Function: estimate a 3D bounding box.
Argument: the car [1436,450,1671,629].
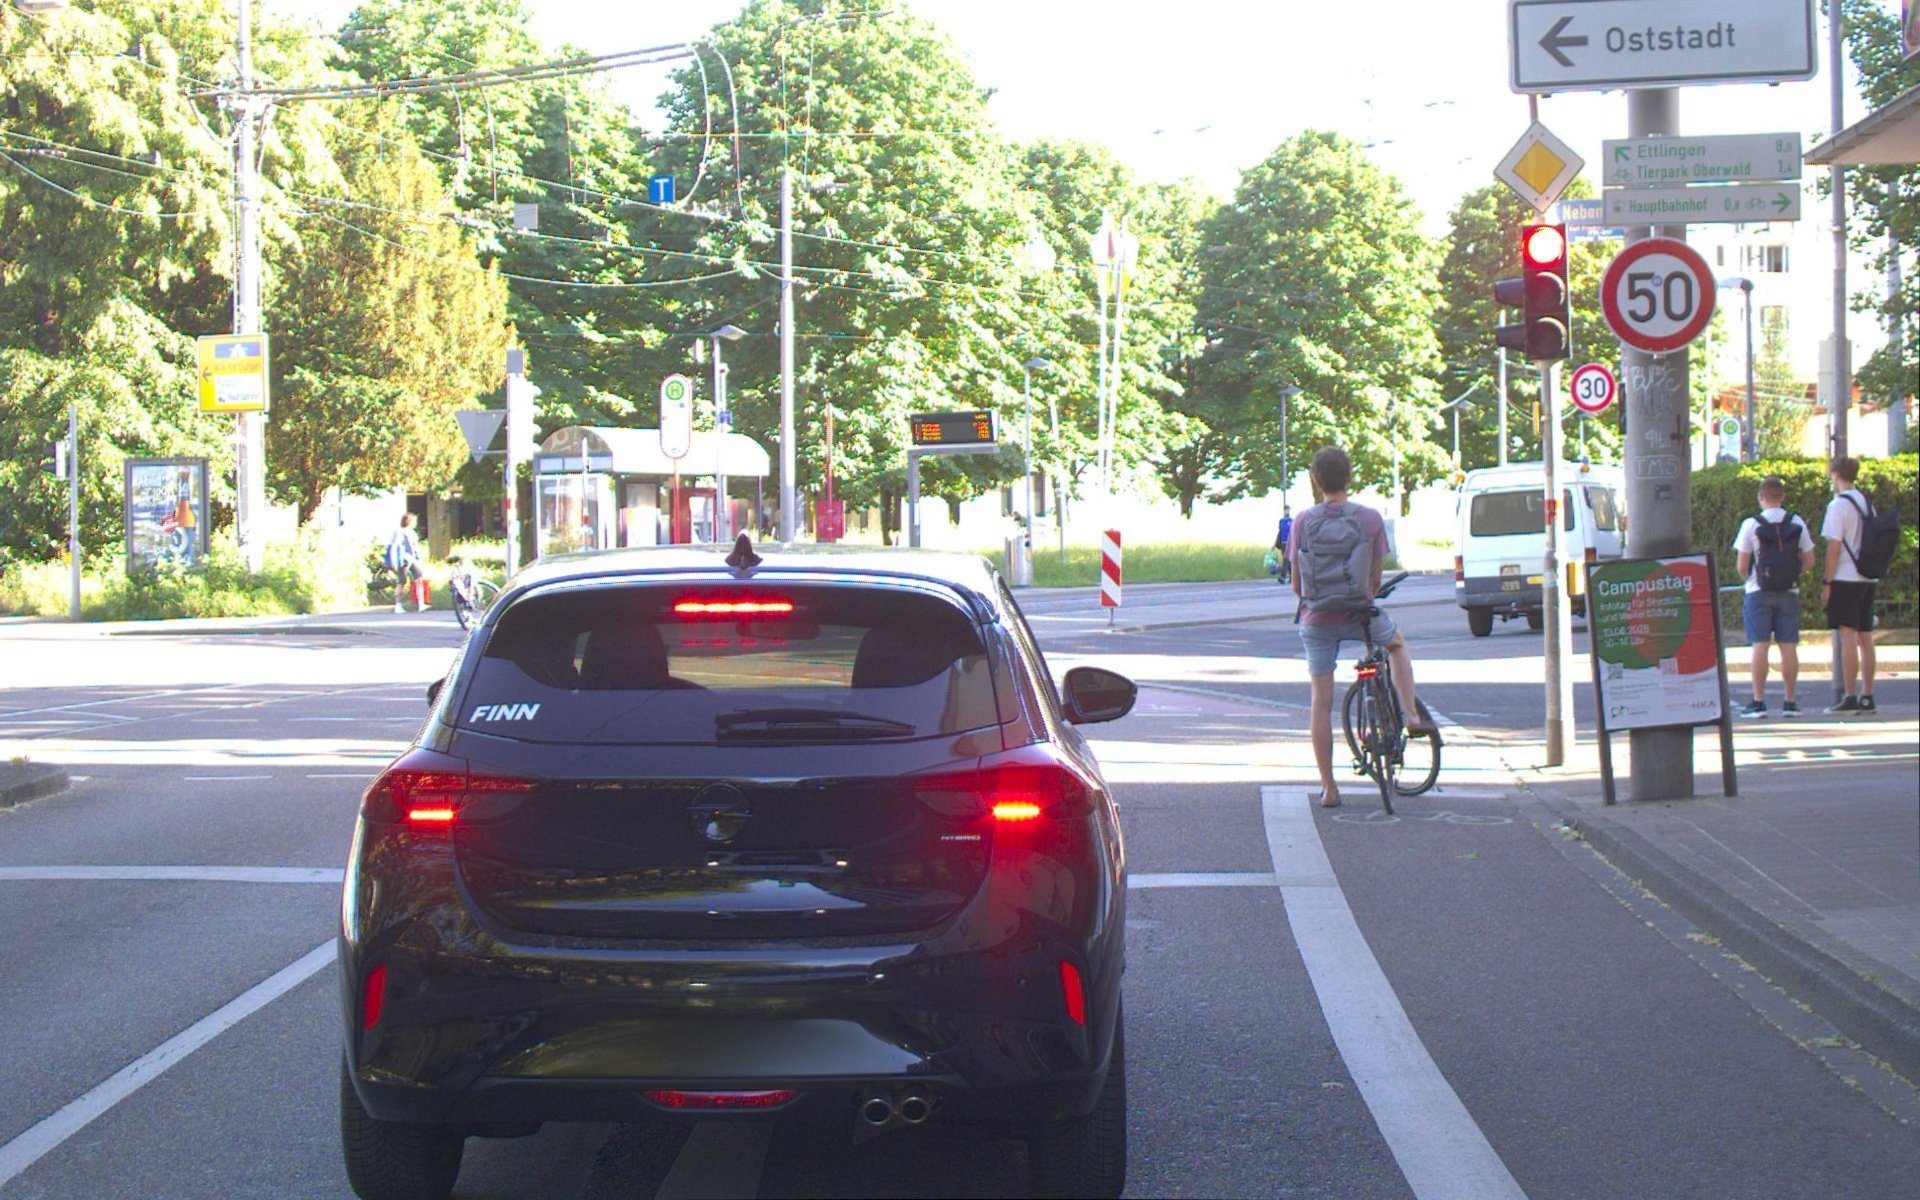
[{"bbox_3d":[7.997,-0.788,46.014,2.092,2.270,4.301,1,1,24],"label":"car"}]

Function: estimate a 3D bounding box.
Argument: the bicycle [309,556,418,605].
[{"bbox_3d":[-11.074,-0.365,63.832,1.877,0.903,0.659,0,1,7],"label":"bicycle"}]

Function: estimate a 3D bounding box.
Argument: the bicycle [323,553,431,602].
[{"bbox_3d":[-10.990,-0.434,64.816,1.877,0.903,0.659,0,1,7],"label":"bicycle"}]

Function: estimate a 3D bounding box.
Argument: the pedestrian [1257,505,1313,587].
[{"bbox_3d":[7.165,-1.193,75.771,0.959,1.786,0.994,0,1,25],"label":"pedestrian"}]

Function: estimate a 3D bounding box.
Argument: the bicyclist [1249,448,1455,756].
[{"bbox_3d":[1.982,-0.009,17.548,0.840,1.504,1.369,0,1,-2],"label":"bicyclist"}]

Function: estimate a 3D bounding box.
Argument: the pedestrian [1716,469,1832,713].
[{"bbox_3d":[6.023,-0.073,25.466,0.698,1.786,0.617,-1,1,-1],"label":"pedestrian"}]

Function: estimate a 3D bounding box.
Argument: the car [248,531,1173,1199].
[{"bbox_3d":[-0.456,0.564,8.702,1.800,1.436,3.940,-1,1,1],"label":"car"}]

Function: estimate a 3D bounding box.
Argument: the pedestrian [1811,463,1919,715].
[{"bbox_3d":[6.804,-0.091,25.533,0.704,1.840,0.699,0,2,39],"label":"pedestrian"}]

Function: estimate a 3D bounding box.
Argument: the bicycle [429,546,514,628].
[{"bbox_3d":[-6.612,-0.189,46.625,0.825,1.056,1.883,0,1,2],"label":"bicycle"}]

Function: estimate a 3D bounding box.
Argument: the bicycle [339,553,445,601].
[{"bbox_3d":[-10.851,-0.441,65.687,1.877,0.903,0.659,0,1,7],"label":"bicycle"}]

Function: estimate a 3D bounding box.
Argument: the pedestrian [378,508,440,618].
[{"bbox_3d":[-8.577,-0.579,53.553,0.726,1.687,0.700,0,1,13],"label":"pedestrian"}]

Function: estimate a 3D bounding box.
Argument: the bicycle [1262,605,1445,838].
[{"bbox_3d":[1.978,0.582,17.517,0.667,1.056,2.082,0,1,-1],"label":"bicycle"}]
